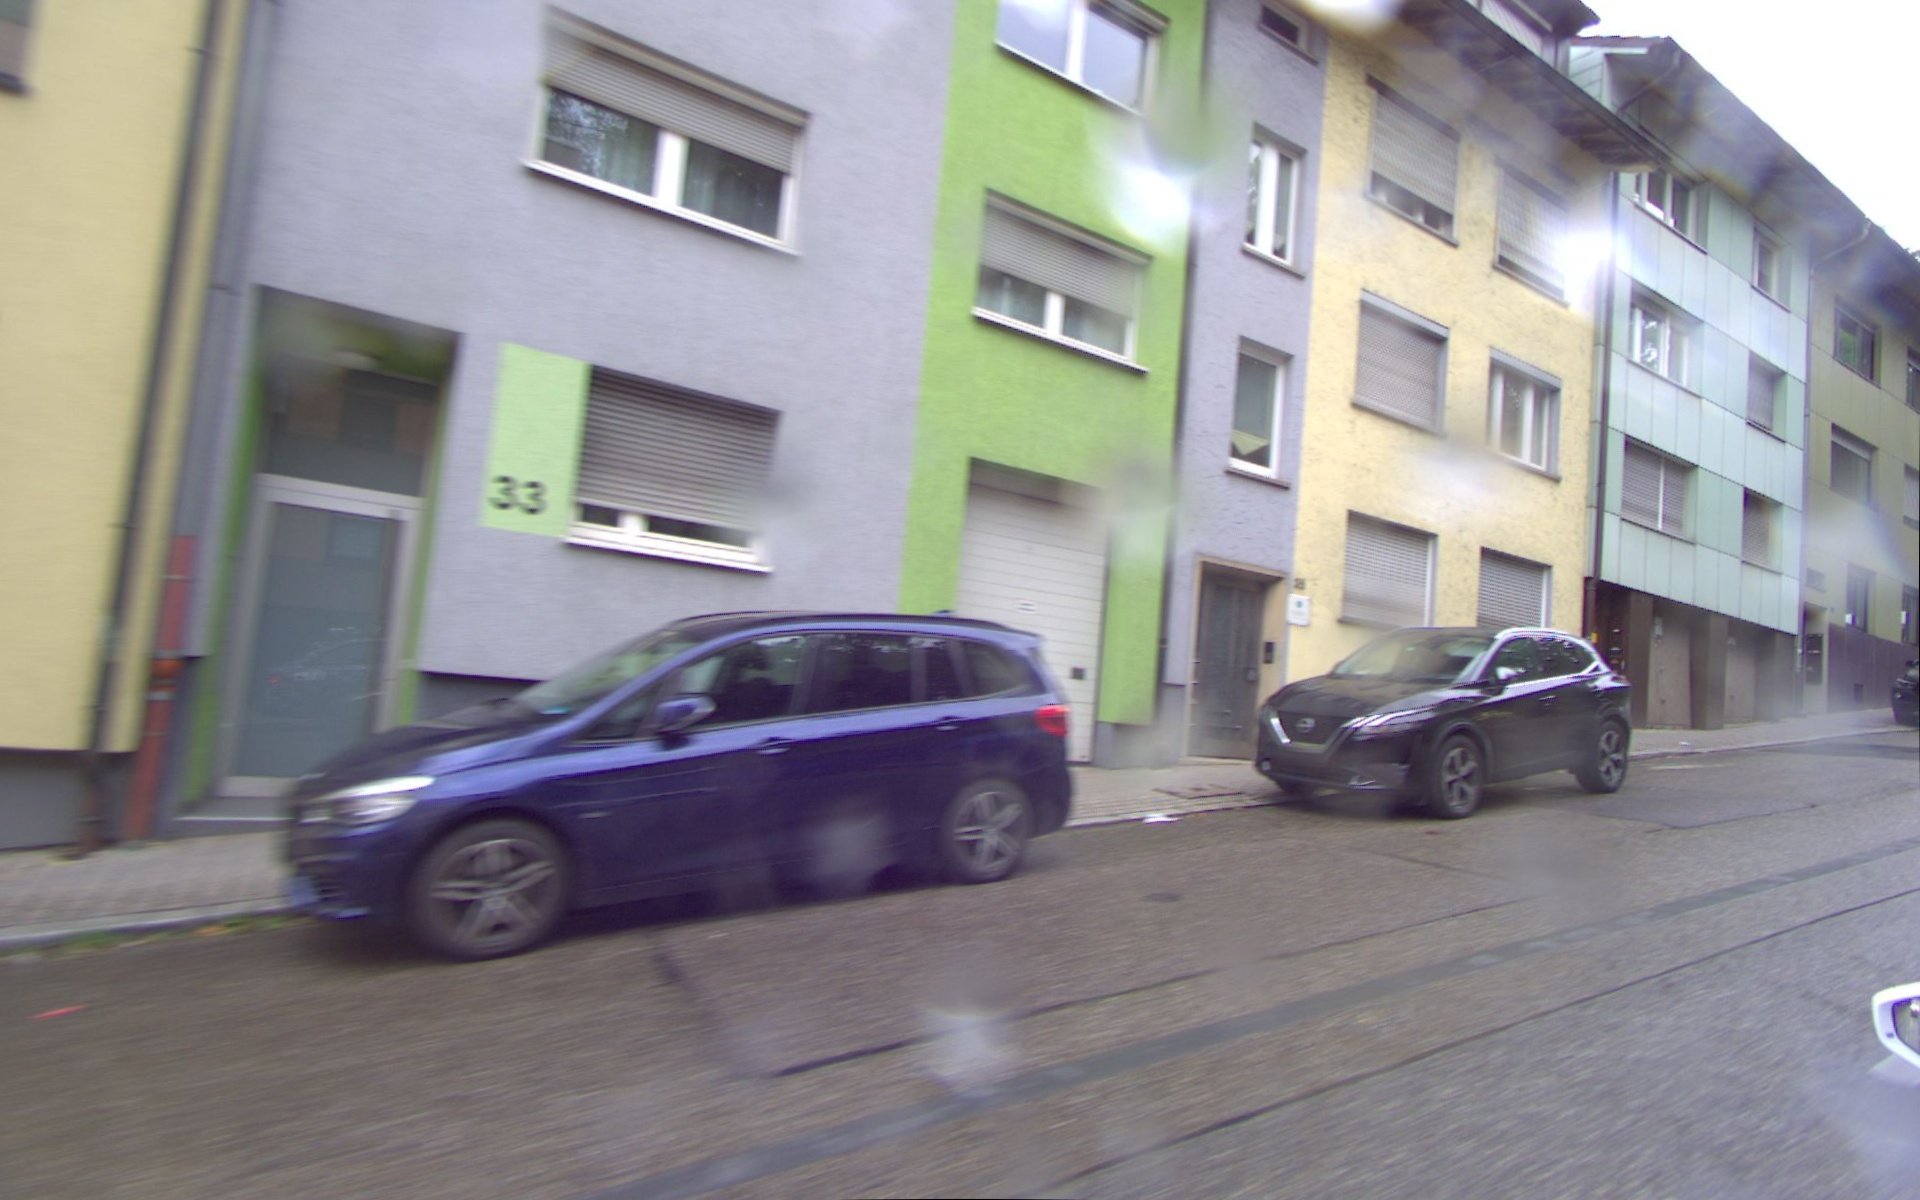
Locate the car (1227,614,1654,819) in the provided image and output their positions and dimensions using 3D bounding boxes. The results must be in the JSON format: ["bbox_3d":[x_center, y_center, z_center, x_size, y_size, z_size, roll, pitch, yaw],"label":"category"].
[{"bbox_3d":[4.790,0.983,9.853,4.259,1.606,1.843,1,-2,-33],"label":"car"}]

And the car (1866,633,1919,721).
[{"bbox_3d":[19.399,1.443,19.249,4.259,1.606,1.979,1,-2,-33],"label":"car"}]

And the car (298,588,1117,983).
[{"bbox_3d":[-1.362,0.826,6.149,4.423,1.606,1.982,1,-2,-33],"label":"car"}]
